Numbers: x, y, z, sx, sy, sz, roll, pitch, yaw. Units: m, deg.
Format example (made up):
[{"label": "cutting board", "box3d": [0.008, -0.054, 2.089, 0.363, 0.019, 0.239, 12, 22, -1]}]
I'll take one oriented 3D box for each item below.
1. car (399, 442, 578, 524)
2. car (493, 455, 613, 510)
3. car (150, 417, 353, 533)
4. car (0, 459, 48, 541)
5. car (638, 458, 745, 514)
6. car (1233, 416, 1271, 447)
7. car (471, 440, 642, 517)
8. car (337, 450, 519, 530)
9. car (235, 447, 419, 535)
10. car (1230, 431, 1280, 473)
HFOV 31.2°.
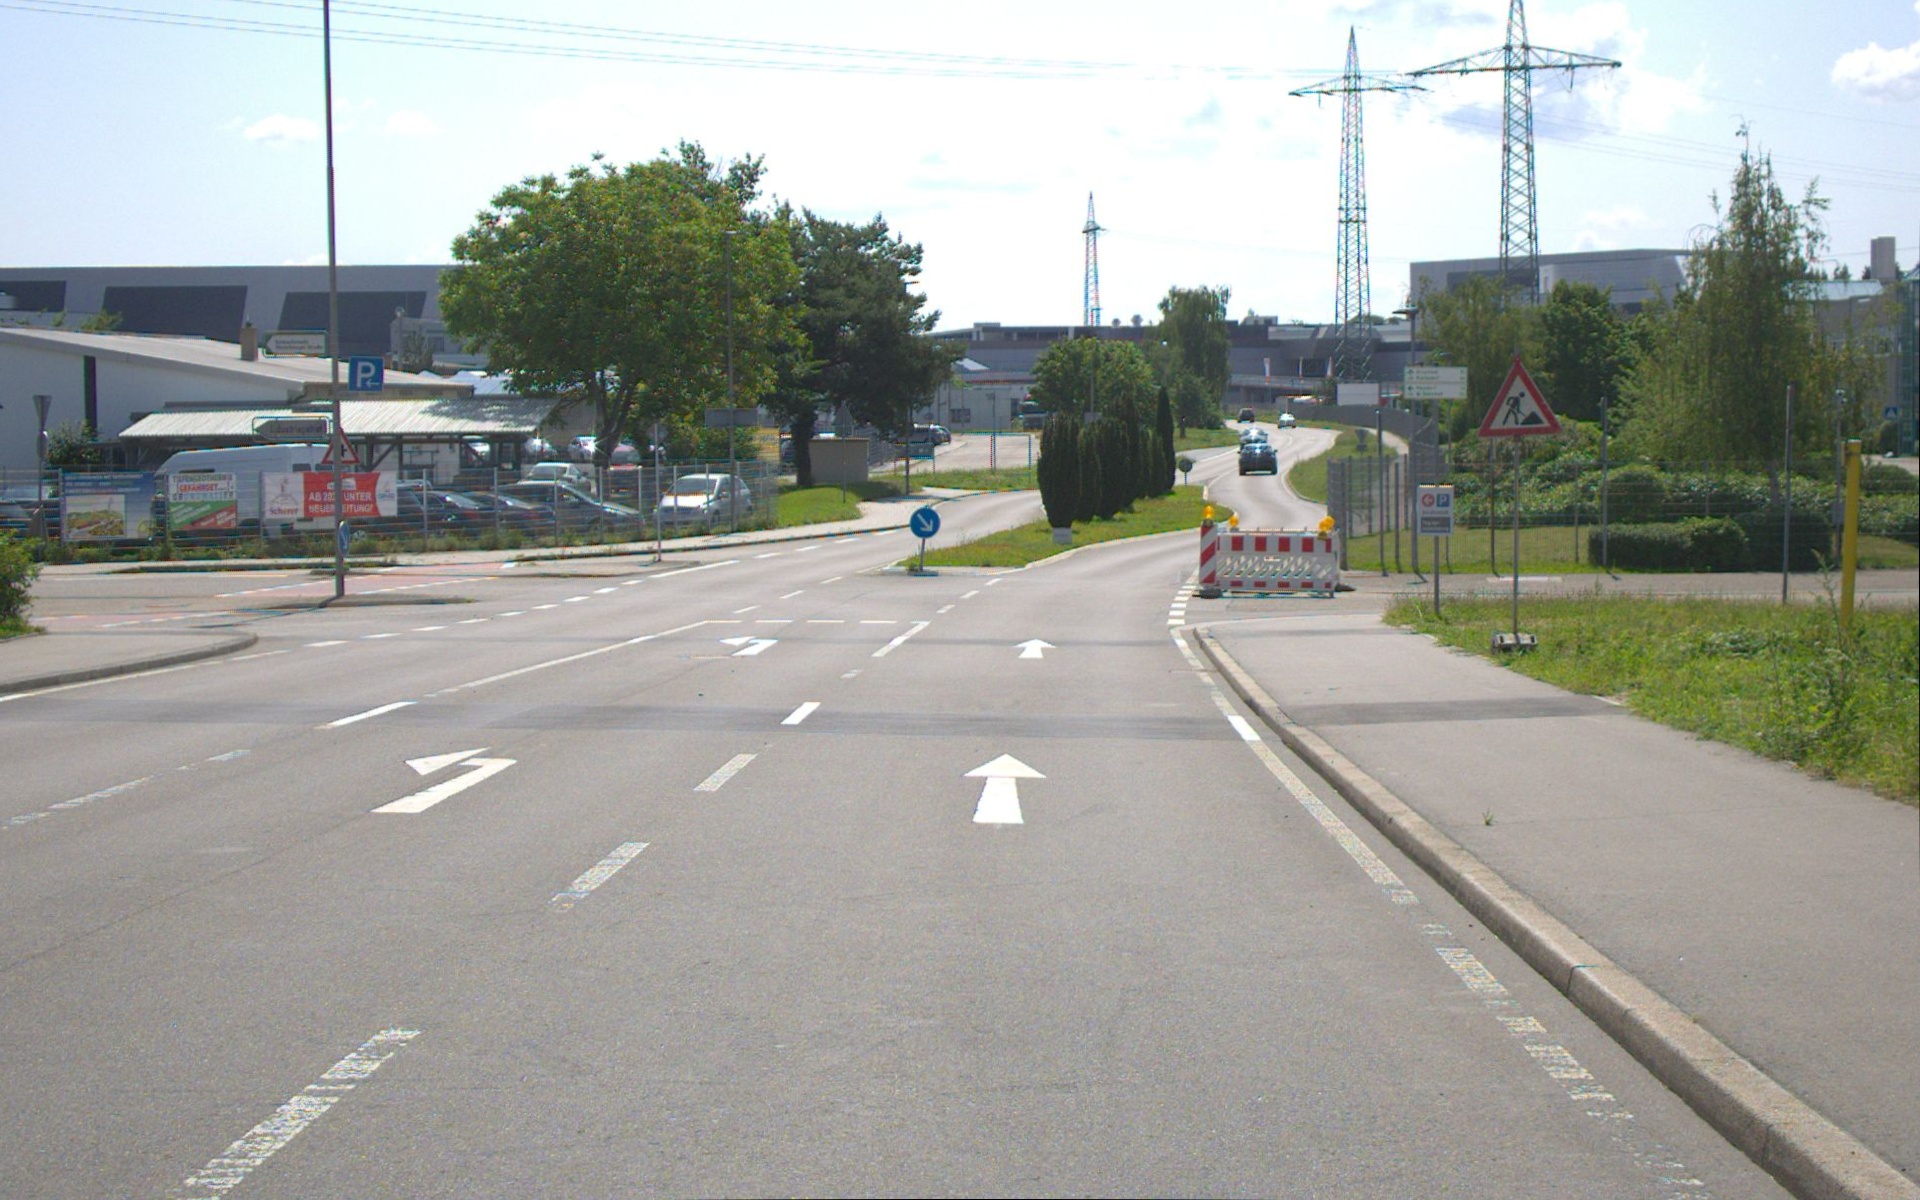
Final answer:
[{"label": "car", "box3d": [-11.705, -2.921, 85.327, 3.994, 1.897, 1.997, 3, 4, 29]}, {"label": "car", "box3d": [-13.883, -4.023, 117.224, 3.986, 1.843, 1.835, -1, 3, -8]}, {"label": "car", "box3d": [-16.303, -2.878, 79.095, 4.359, 2.599, 1.997, 1, 2, 31]}, {"label": "car", "box3d": [-21.461, -2.144, 72.783, 3.995, 1.648, 1.997, 3, 5, 33]}, {"label": "car", "box3d": [-7.539, -3.231, 96.919, 1.830, 1.512, 3.586, 1, 3, 17]}, {"label": "car", "box3d": [20.512, -11.840, 241.269, 2.491, 2.006, 4.665, 1, 4, 7]}, {"label": "car", "box3d": [-10.566, -3.201, 90.091, 3.992, 1.897, 1.998, 2, 4, 24]}, {"label": "car", "box3d": [-12.855, -2.680, 83.043, 3.994, 1.774, 1.997, 3, 5, 31]}, {"label": "car", "box3d": [-14.880, -2.582, 80.812, 3.995, 1.897, 1.996, 3, 5, 34]}, {"label": "car", "box3d": [14.511, -7.291, 169.380, 2.272, 1.940, 4.665, 3, 3, 4]}]
